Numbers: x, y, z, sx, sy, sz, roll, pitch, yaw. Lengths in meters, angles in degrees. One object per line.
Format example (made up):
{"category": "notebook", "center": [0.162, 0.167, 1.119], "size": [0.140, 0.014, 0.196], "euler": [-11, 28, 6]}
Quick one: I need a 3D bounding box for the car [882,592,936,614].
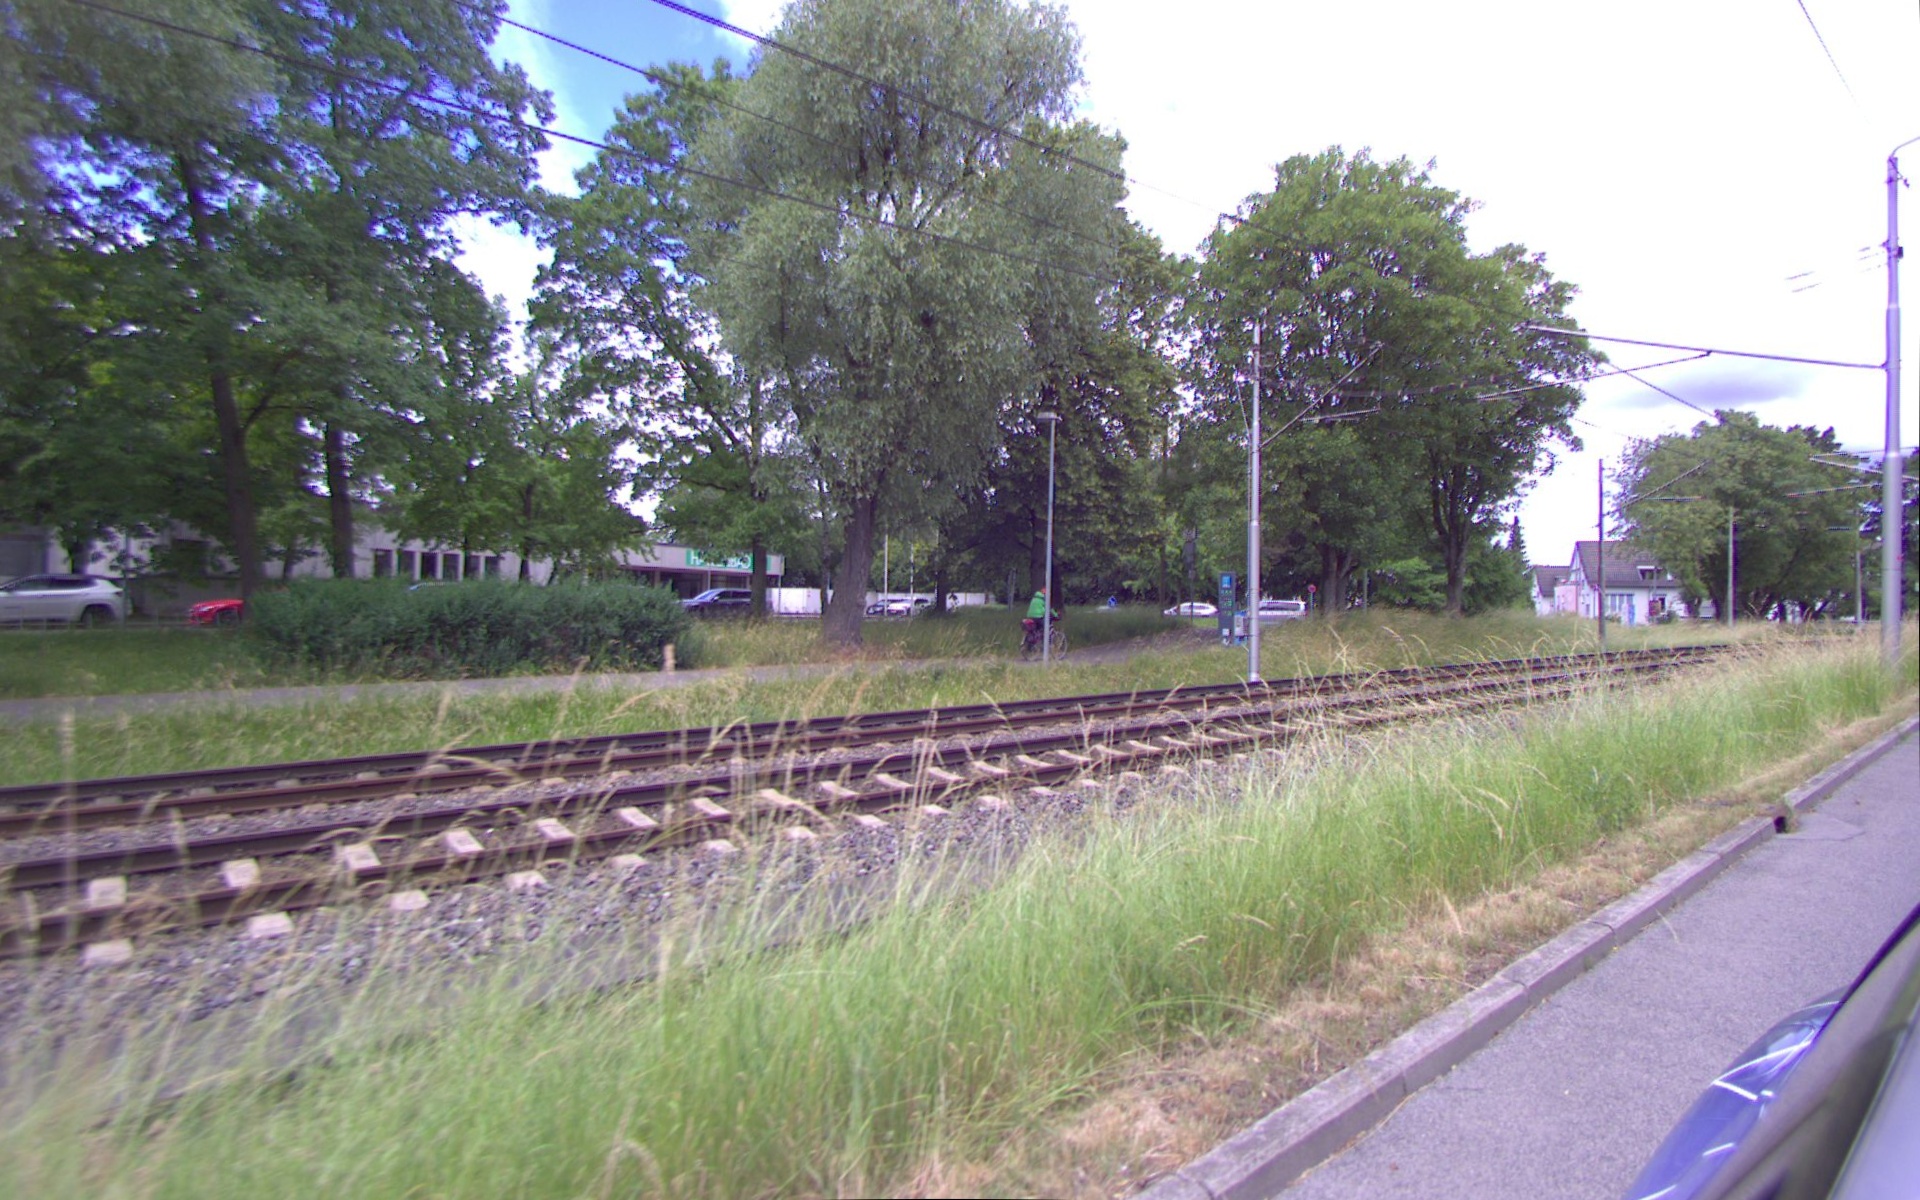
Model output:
{"category": "car", "center": [-3.911, 0.207, 77.837], "size": [1.964, 1.601, 4.412], "euler": [1, 0, 32]}

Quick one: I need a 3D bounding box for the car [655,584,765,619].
{"category": "car", "center": [-10.879, 0.045, 44.188], "size": [4.270, 1.461, 1.997], "euler": [0, 0, -41]}

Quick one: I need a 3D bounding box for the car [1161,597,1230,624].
{"category": "car", "center": [15.409, 0.668, 66.268], "size": [4.154, 1.699, 1.755], "euler": [1, 0, 27]}

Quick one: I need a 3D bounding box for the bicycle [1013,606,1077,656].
{"category": "bicycle", "center": [2.262, 0.797, 26.767], "size": [1.897, 1.262, 0.581], "euler": [0, 0, -45]}

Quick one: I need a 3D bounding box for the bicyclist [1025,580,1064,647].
{"category": "bicyclist", "center": [2.242, 0.351, 26.754], "size": [0.920, 1.718, 0.581], "euler": [0, -1, -44]}

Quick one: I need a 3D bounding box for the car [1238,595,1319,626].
{"category": "car", "center": [20.021, 0.648, 63.700], "size": [4.667, 1.884, 1.900], "euler": [1, 0, 27]}

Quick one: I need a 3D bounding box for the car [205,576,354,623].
{"category": "car", "center": [-22.677, -0.022, 33.768], "size": [3.930, 1.461, 1.997], "euler": [0, 0, -41]}

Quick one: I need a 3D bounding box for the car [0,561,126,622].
{"category": "car", "center": [-27.284, -0.218, 29.809], "size": [4.154, 1.722, 1.997], "euler": [0, -1, -41]}
